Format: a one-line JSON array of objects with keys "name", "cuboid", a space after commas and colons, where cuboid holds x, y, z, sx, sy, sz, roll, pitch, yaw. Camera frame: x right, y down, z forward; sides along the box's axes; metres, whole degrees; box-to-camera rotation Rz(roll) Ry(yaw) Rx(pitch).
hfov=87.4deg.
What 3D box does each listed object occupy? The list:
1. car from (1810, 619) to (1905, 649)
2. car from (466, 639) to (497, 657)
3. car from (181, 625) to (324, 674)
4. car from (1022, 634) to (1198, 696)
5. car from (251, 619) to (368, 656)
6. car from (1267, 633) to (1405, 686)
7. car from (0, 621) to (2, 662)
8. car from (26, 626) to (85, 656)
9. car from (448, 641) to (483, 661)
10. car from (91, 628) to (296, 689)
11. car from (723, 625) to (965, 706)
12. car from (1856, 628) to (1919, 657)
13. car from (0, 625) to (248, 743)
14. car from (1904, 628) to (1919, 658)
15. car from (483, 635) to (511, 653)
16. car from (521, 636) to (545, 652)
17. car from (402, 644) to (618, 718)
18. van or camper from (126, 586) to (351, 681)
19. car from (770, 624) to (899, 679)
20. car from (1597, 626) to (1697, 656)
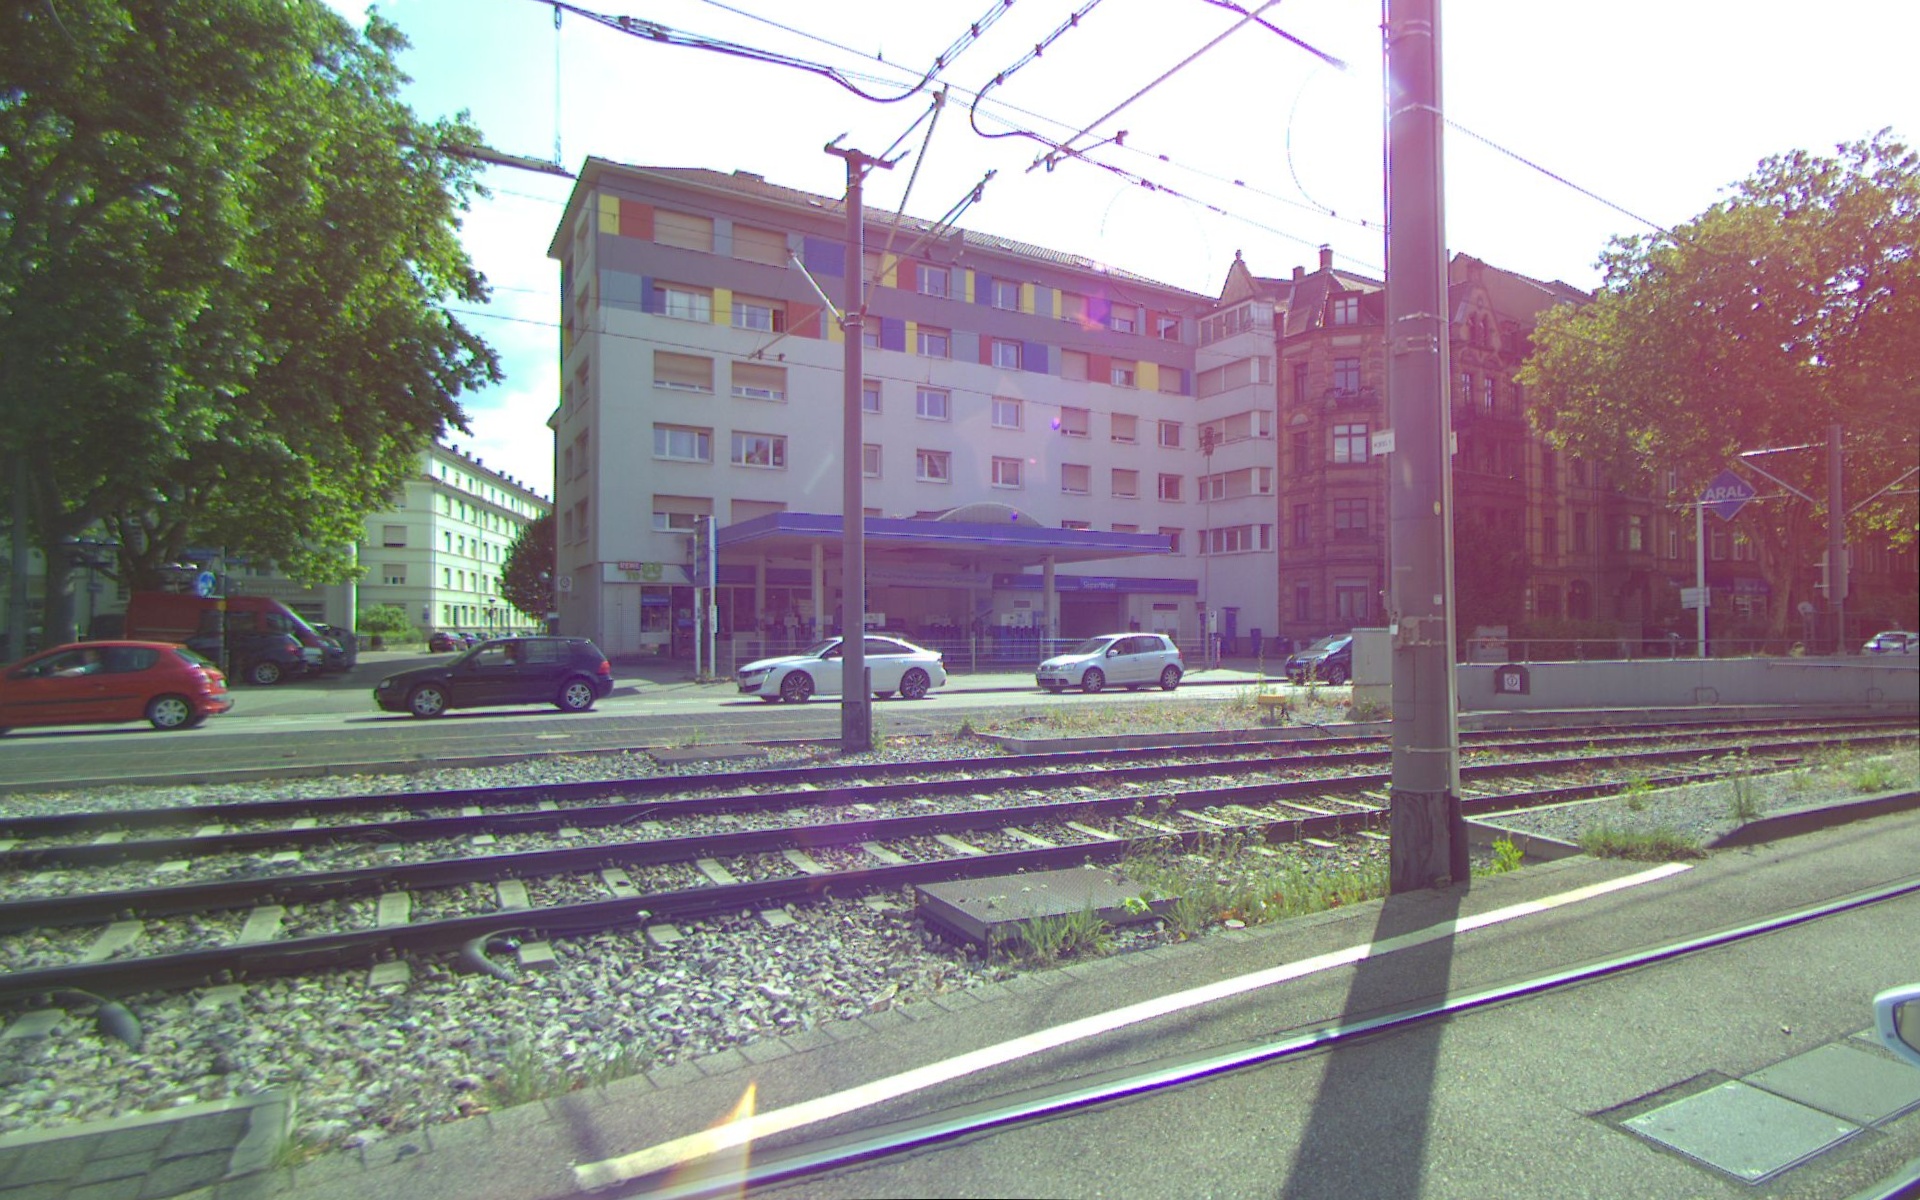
[{"name": "car", "cuboid": [59.854, 2.237, 67.048, 1.977, 1.943, 4.380, 1, -1, -31]}, {"name": "car", "cuboid": [-39.478, 3.948, 82.961, 1.646, 1.435, 3.771, 0, -1, -15]}, {"name": "car", "cuboid": [-24.717, 1.702, 35.250, 3.954, 1.625, 1.518, 1, -3, -31]}, {"name": "car", "cuboid": [3.906, 1.637, 26.009, 4.351, 1.435, 1.715, 0, -2, -29]}, {"name": "car", "cuboid": [-34.965, 2.020, 54.134, 5.197, 1.896, 1.983, 1, -4, -33]}, {"name": "car", "cuboid": [11.005, 1.703, 29.391, 3.730, 1.435, 1.664, 0, -1, -25]}, {"name": "car", "cuboid": [-48.545, 1.951, 48.317, 2.223, 2.039, 3.915, 0, -4, -22]}, {"name": "car", "cuboid": [-52.863, 2.366, 58.776, 1.831, 1.681, 4.048, 1, -2, -32]}, {"name": "car", "cuboid": [-38.015, 3.899, 77.306, 1.646, 1.435, 3.771, 0, -1, -15]}, {"name": "car", "cuboid": [-19.368, 1.436, 25.618, 3.954, 1.429, 1.743, 1, -2, -31]}, {"name": "car", "cuboid": [-2.521, 1.371, 22.289, 5.017, 1.628, 1.938, 1, -2, -31]}, {"name": "car", "cuboid": [44.821, 2.026, 48.265, 3.447, 1.320, 1.492, 0, -4, -28]}, {"name": "car", "cuboid": [-13.719, 1.270, 15.644, 4.095, 1.628, 1.704, -1, -1, -31]}, {"name": "car", "cuboid": [50.173, 2.155, 51.421, 3.955, 1.501, 1.635, 1, -4, -31]}, {"name": "car", "cuboid": [-41.066, 3.895, 89.200, 1.646, 1.435, 3.771, 0, -1, -15]}, {"name": "car", "cuboid": [-42.386, 4.353, 99.744, 1.646, 1.435, 3.771, 0, -1, -14]}, {"name": "car", "cuboid": [-8.457, 1.467, 18.956, 3.588, 1.205, 1.610, 0, -1, -29]}, {"name": "van or camper", "cuboid": [-21.763, 1.032, 30.649, 5.283, 2.675, 2.094, 0, -4, -29]}, {"name": "car", "cuboid": [-4.178, 1.678, 33.432, 3.829, 1.628, 1.893, -1, -1, -30]}, {"name": "car", "cuboid": [36.627, 2.149, 53.678, 1.974, 1.503, 3.972, 1, -1, -27]}]
